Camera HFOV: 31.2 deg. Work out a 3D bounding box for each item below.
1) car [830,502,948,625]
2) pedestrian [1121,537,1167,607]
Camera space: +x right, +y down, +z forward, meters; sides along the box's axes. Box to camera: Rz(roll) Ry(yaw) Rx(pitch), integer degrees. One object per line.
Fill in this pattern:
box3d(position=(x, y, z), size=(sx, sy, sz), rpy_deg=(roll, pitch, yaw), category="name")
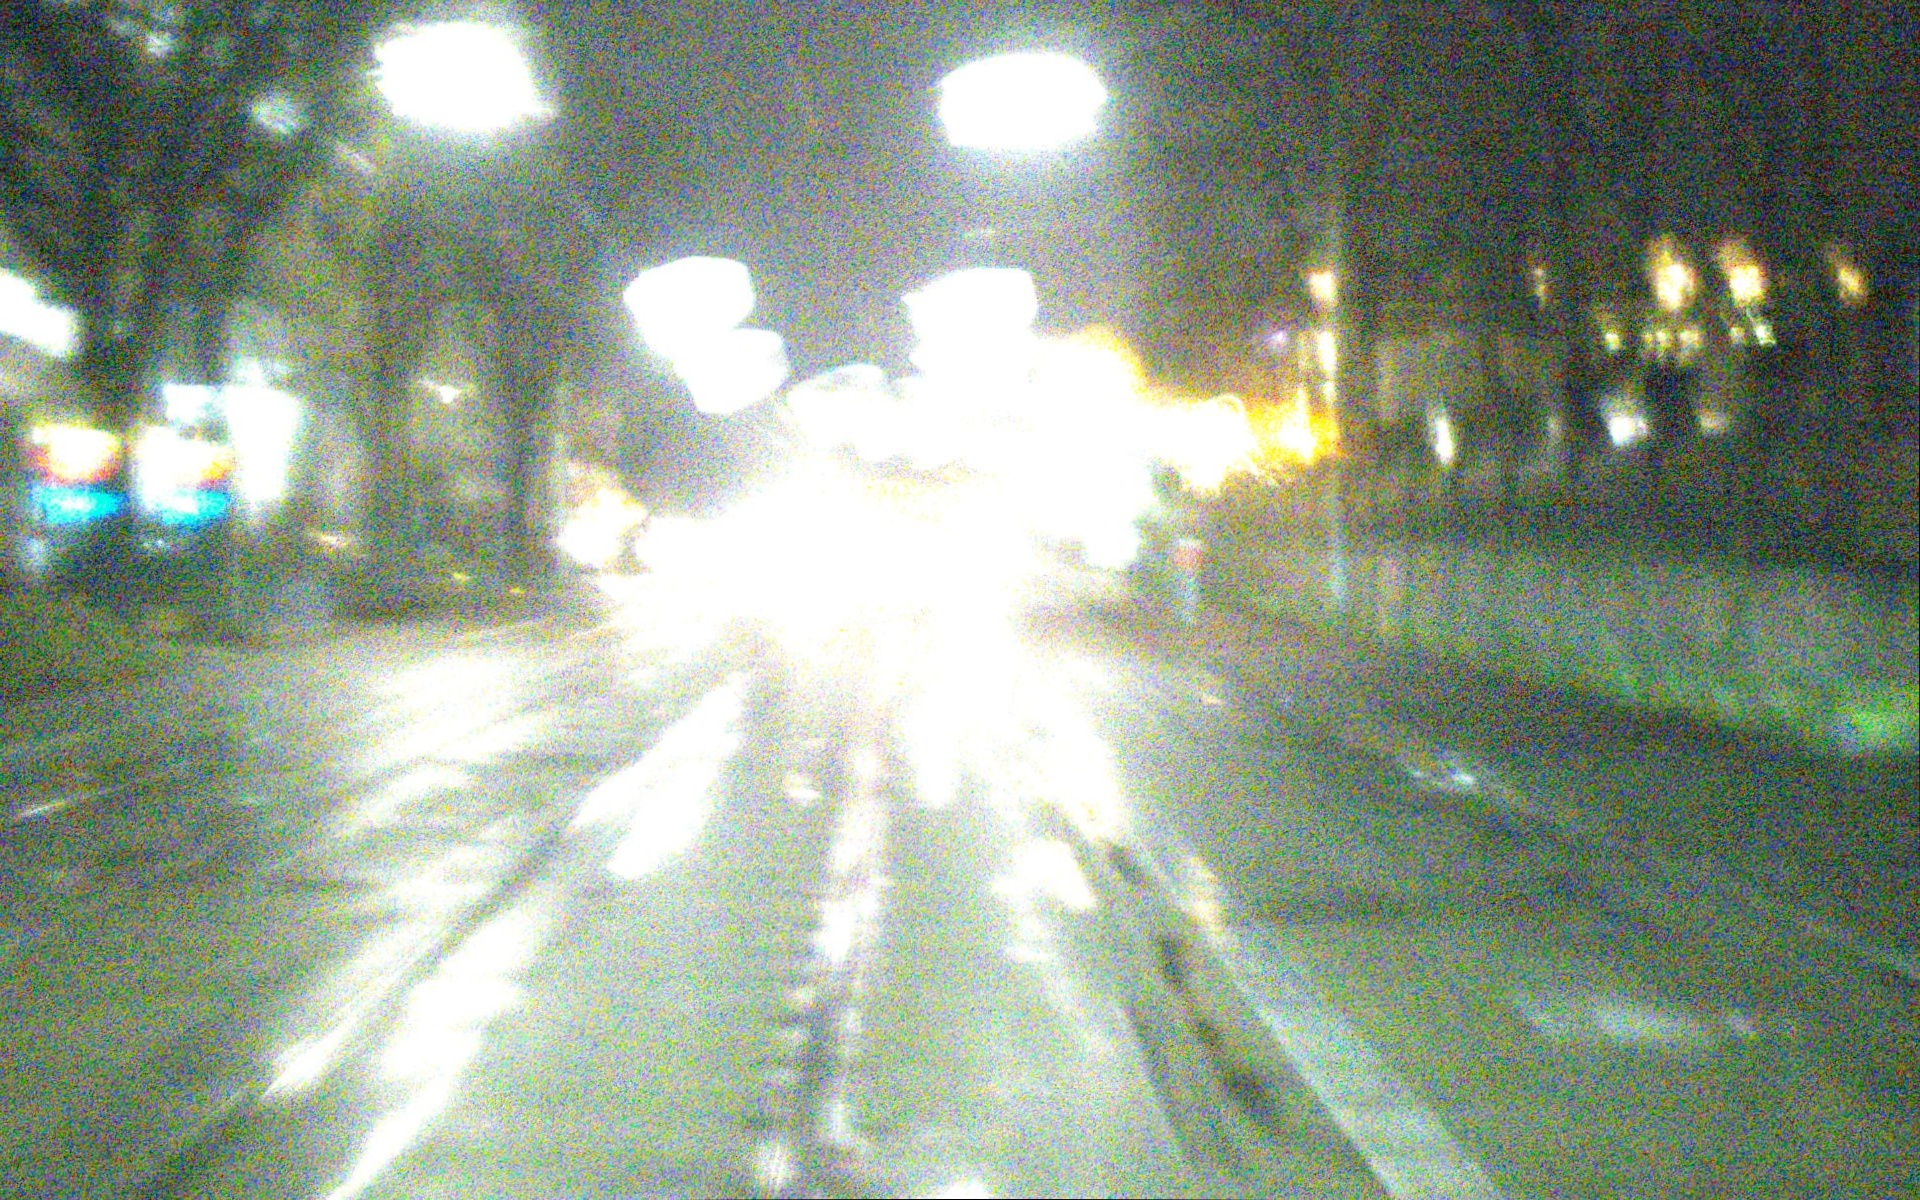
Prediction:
box3d(position=(-1.456, -0.734, 69.268), size=(2.244, 2.353, 4.394), rpy_deg=(1, 1, -2), category="car")
box3d(position=(4.471, -0.679, 83.476), size=(0.939, 1.658, 0.994), rpy_deg=(-1, 1, -5), category="pedestrian")
